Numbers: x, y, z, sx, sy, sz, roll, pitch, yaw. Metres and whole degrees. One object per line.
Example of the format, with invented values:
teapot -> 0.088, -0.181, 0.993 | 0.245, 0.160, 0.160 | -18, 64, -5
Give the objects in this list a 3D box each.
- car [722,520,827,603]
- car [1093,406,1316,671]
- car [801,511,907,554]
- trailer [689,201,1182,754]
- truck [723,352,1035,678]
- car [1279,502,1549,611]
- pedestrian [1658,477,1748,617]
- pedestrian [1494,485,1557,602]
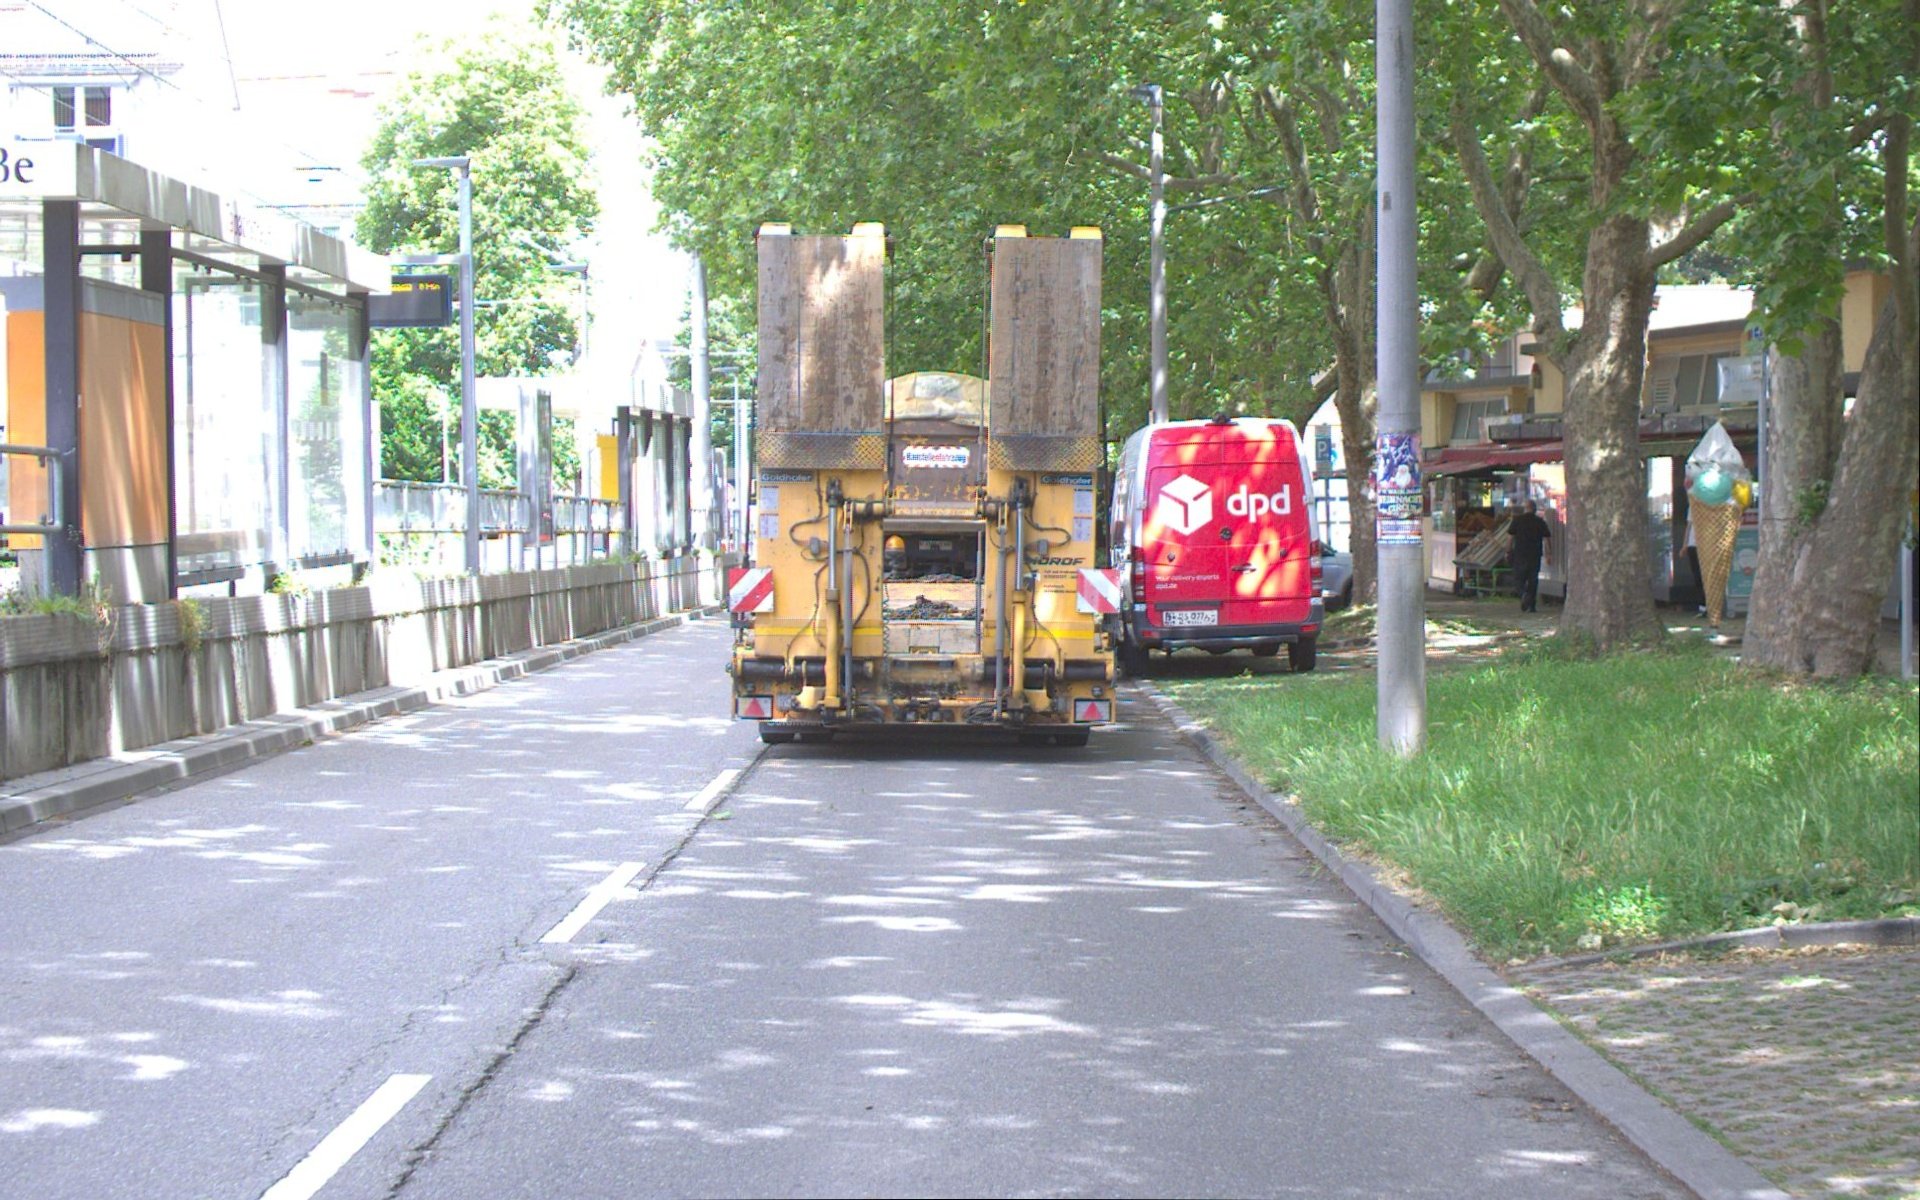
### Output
car -> -3.277, -0.694, 61.261 | 1.732, 1.391, 3.752 | 1, 1, -1
car -> 2.566, -0.669, 37.635 | 1.904, 2.572, 6.834 | -2, 1, 0
car -> -5.472, -3.475, 177.046 | 5.088, 2.095, 1.977 | 1, 1, -14
trailer -> -0.460, -0.892, 27.771 | 3.154, 3.540, 11.098 | 1, 1, -3
truck -> -0.975, -0.894, 37.251 | 2.989, 3.124, 7.889 | 1, 1, -3
car -> 7.001, -0.682, 53.182 | 3.828, 1.557, 1.620 | -2, 1, -6
pedestrian -> 9.700, -0.685, 44.874 | 0.925, 1.795, 0.604 | -1, 0, 45
pedestrian -> 8.463, -0.850, 51.490 | 0.759, 1.719, 0.659 | -2, 1, -4
